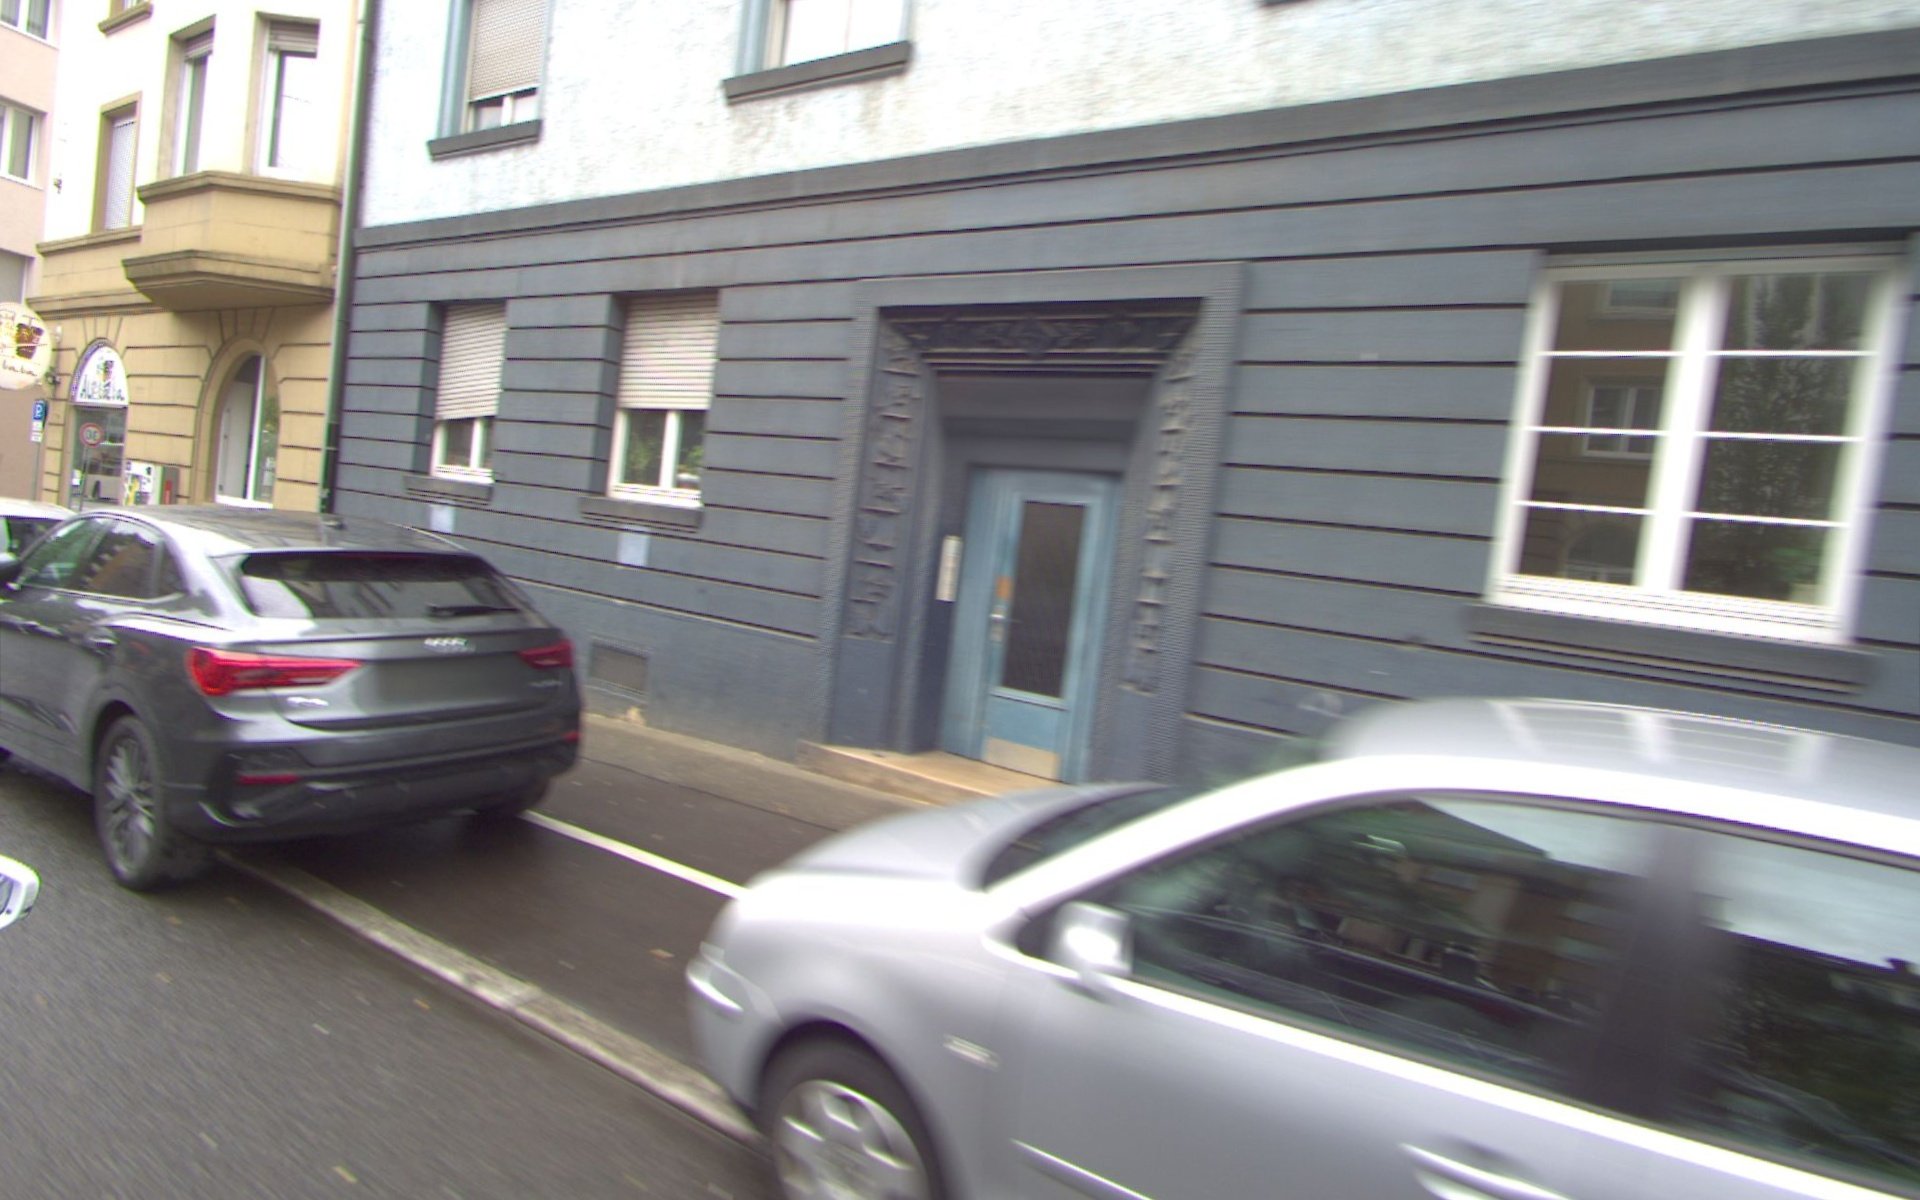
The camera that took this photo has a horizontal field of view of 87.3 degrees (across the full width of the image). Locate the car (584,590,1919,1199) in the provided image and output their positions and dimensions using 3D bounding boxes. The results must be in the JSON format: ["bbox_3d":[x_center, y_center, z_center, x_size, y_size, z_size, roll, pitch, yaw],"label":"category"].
[{"bbox_3d":[0.979,0.885,2.315,3.535,1.449,1.582,7,4,32],"label":"car"}]

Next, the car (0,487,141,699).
[{"bbox_3d":[-8.514,-0.229,8.272,4.022,1.484,1.569,7,3,33],"label":"car"}]

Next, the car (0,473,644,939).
[{"bbox_3d":[-3.897,0.234,5.446,4.223,1.579,1.817,7,3,33],"label":"car"}]
